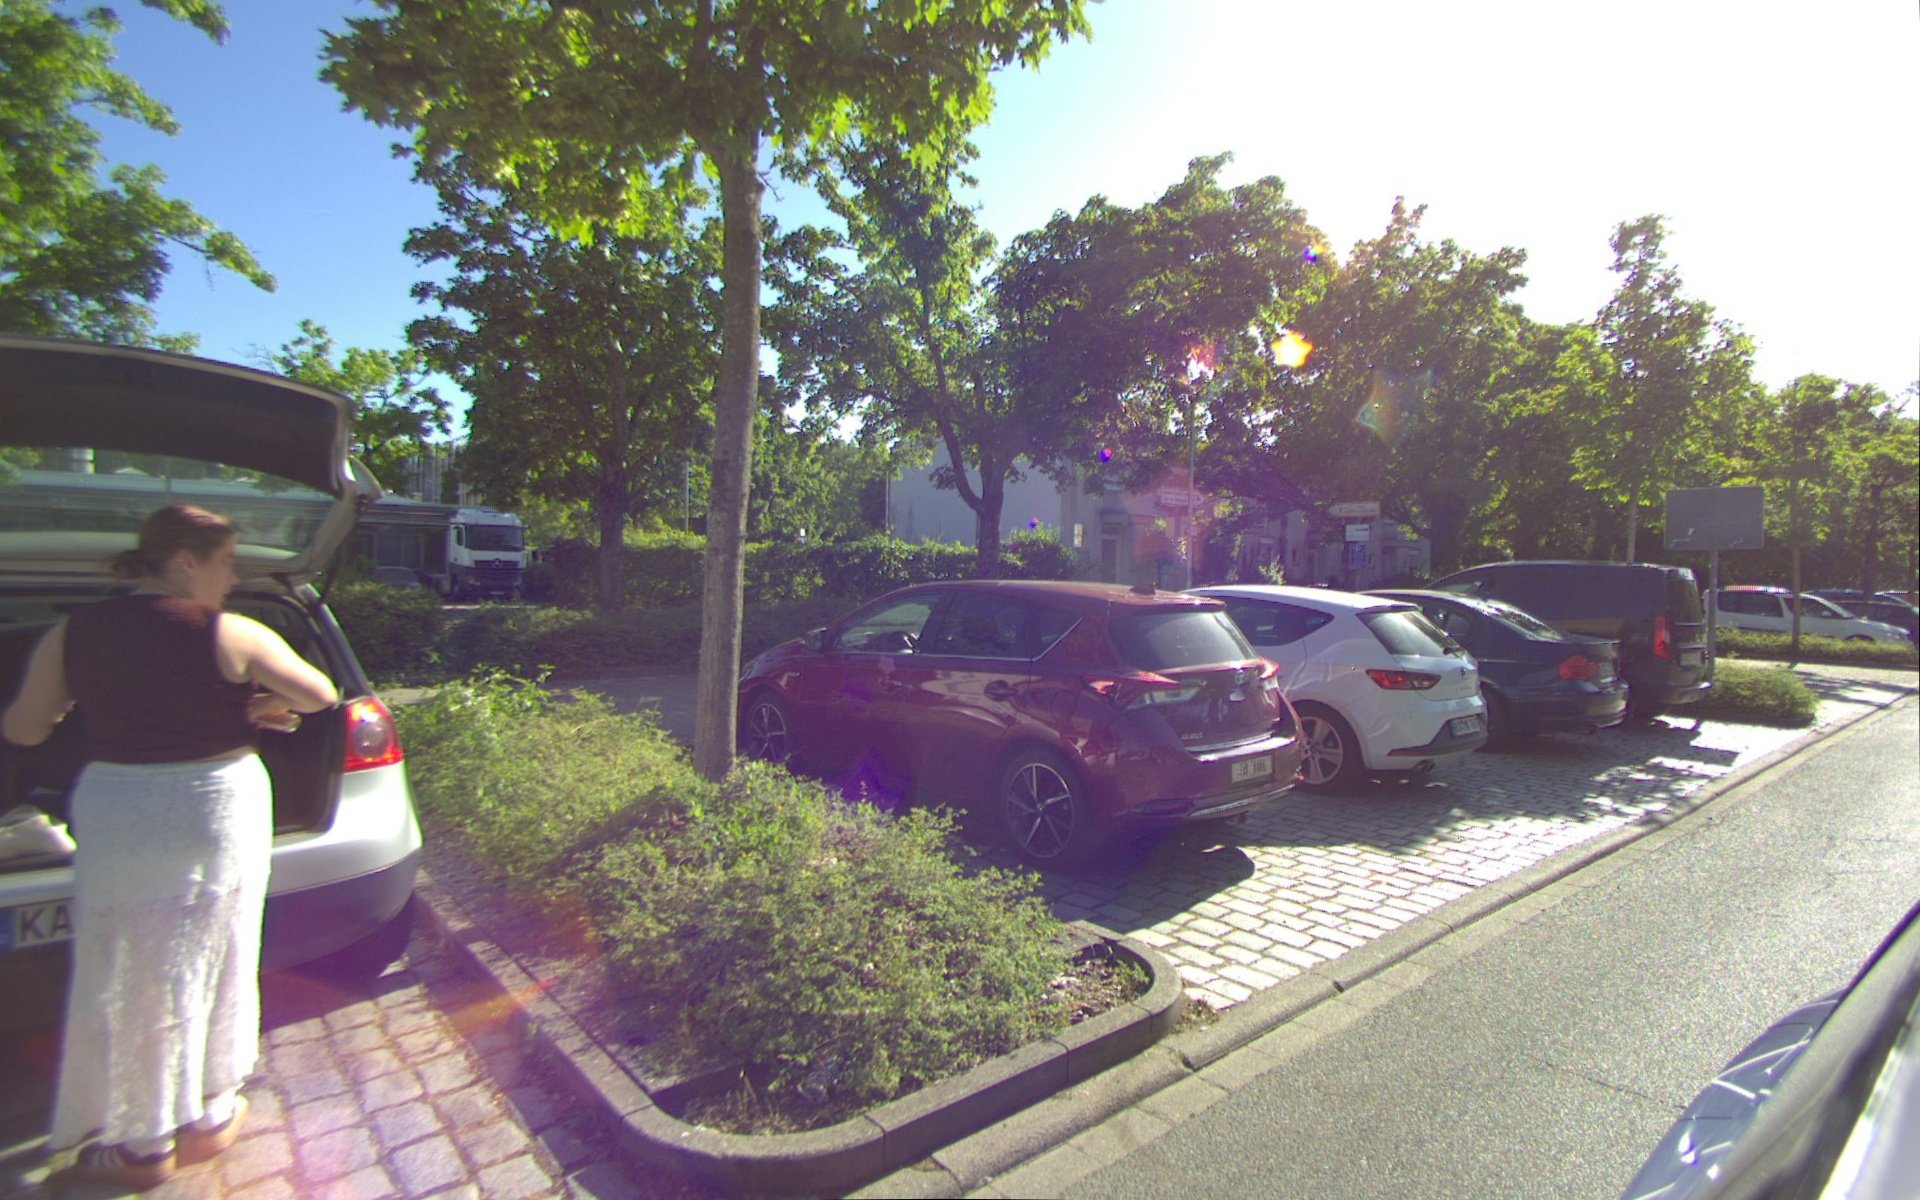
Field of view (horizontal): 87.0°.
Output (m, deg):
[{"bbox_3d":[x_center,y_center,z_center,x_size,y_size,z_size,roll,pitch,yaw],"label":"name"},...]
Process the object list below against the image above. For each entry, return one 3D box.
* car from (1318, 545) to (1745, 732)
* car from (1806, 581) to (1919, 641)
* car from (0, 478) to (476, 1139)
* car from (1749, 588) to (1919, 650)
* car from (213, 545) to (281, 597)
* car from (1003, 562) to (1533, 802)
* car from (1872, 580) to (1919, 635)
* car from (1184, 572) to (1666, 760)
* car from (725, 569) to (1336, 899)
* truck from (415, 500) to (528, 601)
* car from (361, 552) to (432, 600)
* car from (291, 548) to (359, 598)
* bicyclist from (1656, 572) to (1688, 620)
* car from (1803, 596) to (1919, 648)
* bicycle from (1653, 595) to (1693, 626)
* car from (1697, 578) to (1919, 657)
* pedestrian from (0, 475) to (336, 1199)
[{"bbox_3d":[6.836,0.301,12.477,1.847,1.869,4.164,0,3,-40],"label":"car"},{"bbox_3d":[30.854,0.361,33.101,1.798,1.794,4.657,0,3,-42],"label":"car"},{"bbox_3d":[-3.445,0.446,4.049,1.651,1.597,3.905,1,1,-42],"label":"car"},{"bbox_3d":[23.949,0.471,27.111,1.798,1.423,4.162,0,3,-42],"label":"car"},{"bbox_3d":[-25.436,-1.036,36.094,1.865,1.705,4.000,2,1,-36],"label":"car"},{"bbox_3d":[2.378,0.477,8.559,1.777,1.454,3.906,1,3,-42],"label":"car"},{"bbox_3d":[38.038,0.329,38.849,1.940,2.057,4.253,0,3,-42],"label":"car"},{"bbox_3d":[4.599,0.495,10.505,1.798,1.423,4.162,0,3,-42],"label":"car"},{"bbox_3d":[0.182,0.543,6.537,1.644,1.444,3.905,-1,3,-42],"label":"car"},{"bbox_3d":[-20.722,-2.038,42.697,2.761,3.854,6.919,2,1,-39],"label":"truck"},{"bbox_3d":[-21.739,-0.948,38.991,1.865,1.705,4.227,2,1,-36],"label":"car"},{"bbox_3d":[-23.636,-0.995,37.618,1.865,1.705,4.000,2,1,-36],"label":"car"},{"bbox_3d":[23.474,-0.127,33.357,0.997,1.543,0.595,2,0,-41],"label":"bicyclist"},{"bbox_3d":[29.009,0.691,31.380,1.798,1.423,4.162,0,3,-42],"label":"car"},{"bbox_3d":[23.585,0.352,33.467,2.052,1.008,0.595,1,1,-41],"label":"bicycle"},{"bbox_3d":[20.379,0.347,24.178,1.798,1.617,4.161,0,3,-42],"label":"car"},{"bbox_3d":[-2.012,0.541,2.504,0.662,1.599,0.766,2,0,-40],"label":"pedestrian"}]
